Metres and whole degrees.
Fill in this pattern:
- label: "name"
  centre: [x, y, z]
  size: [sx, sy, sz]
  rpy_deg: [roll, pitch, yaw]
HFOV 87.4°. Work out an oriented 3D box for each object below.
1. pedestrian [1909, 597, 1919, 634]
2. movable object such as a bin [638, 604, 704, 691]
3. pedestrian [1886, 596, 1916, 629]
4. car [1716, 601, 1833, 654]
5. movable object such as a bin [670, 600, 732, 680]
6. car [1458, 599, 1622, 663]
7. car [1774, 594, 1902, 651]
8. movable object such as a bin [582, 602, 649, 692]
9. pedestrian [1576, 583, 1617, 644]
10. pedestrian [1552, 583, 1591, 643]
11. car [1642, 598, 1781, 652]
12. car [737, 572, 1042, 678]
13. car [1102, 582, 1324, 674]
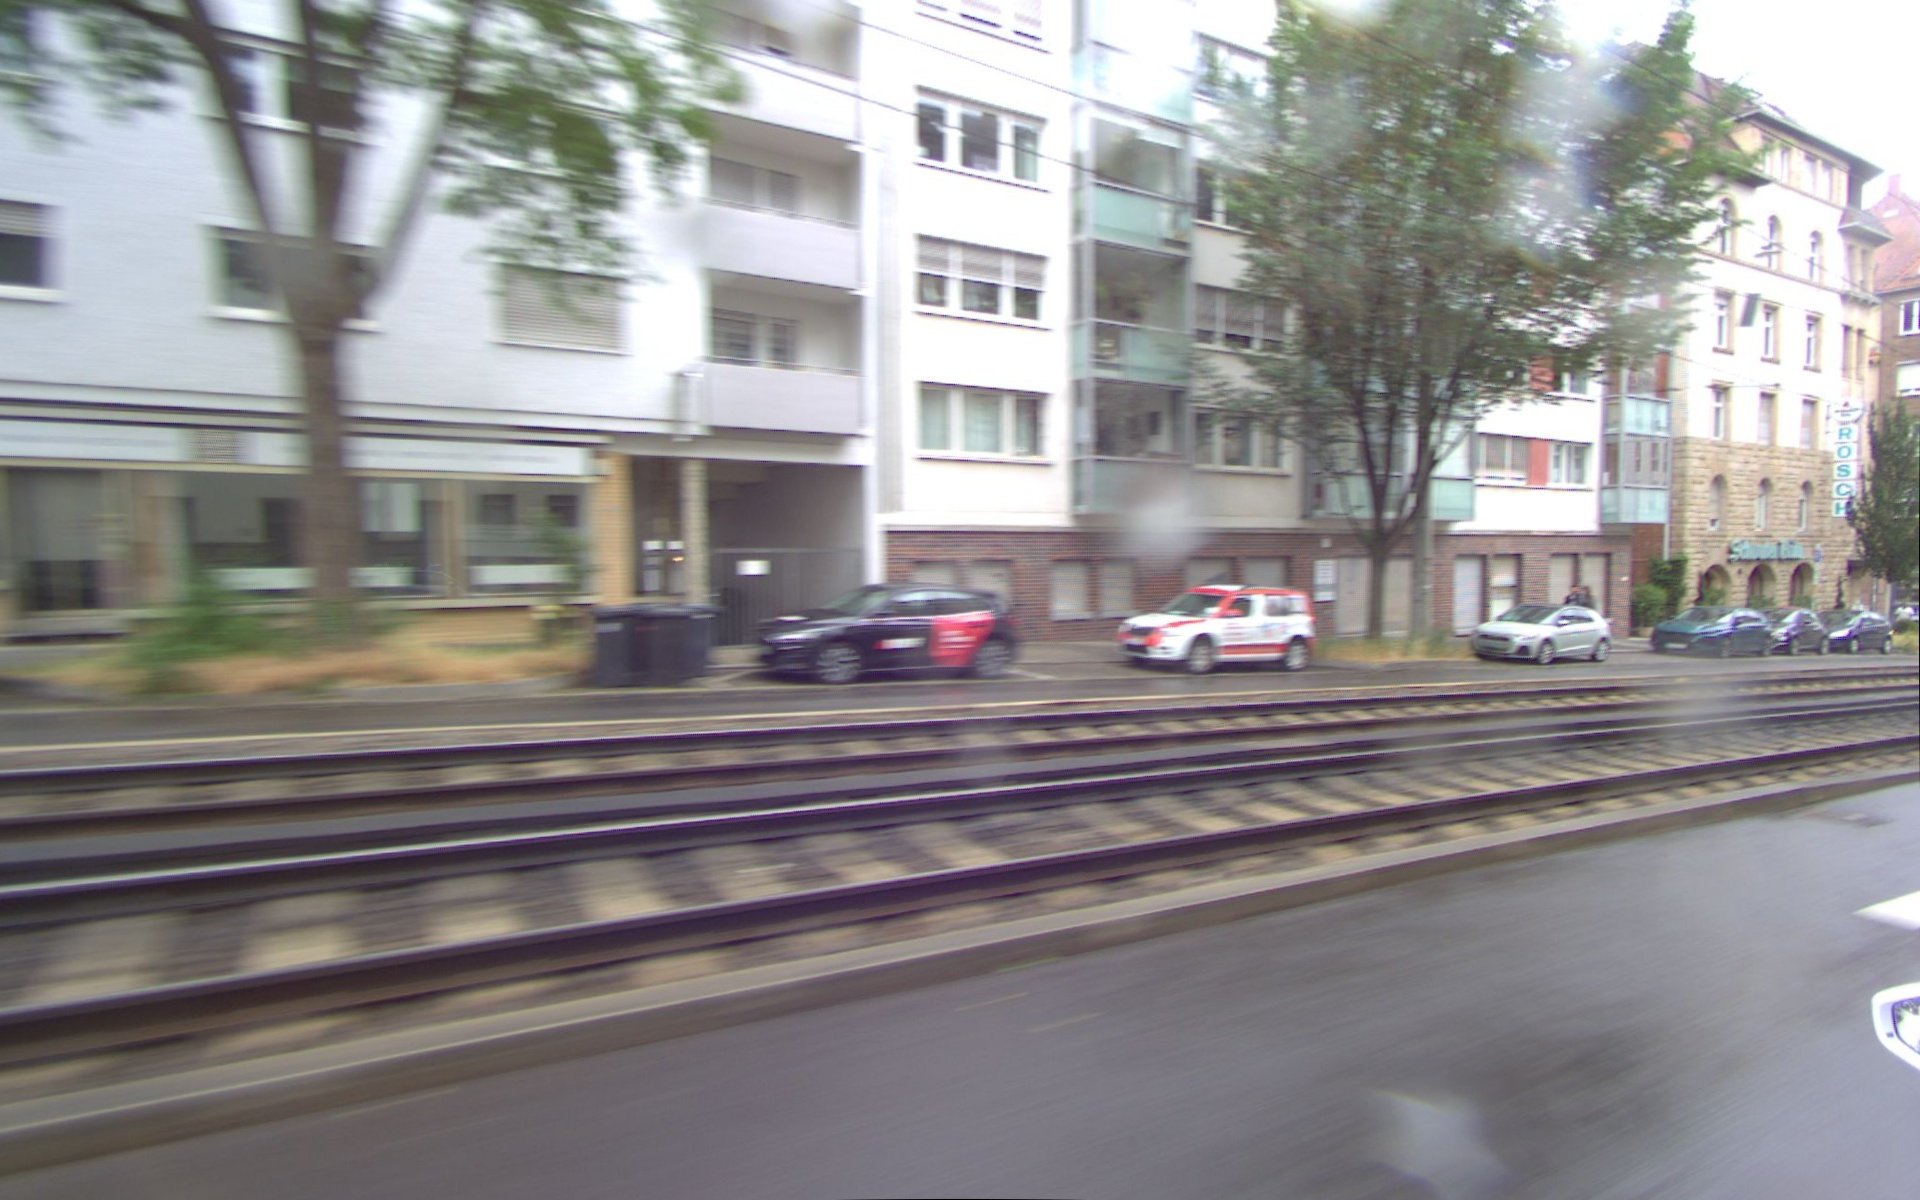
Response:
- label: "pedestrian"
  centre: [41.305, 0.661, 43.171]
  size: [0.635, 1.591, 0.515]
  rpy_deg: [1, 1, -27]
- label: "movable object such as a bin"
  centre: [-3.948, 0.632, 13.703]
  size: [0.665, 1.136, 0.720]
  rpy_deg: [1, 1, -36]
- label: "pedestrian"
  centre: [40.963, 0.540, 43.742]
  size: [0.637, 1.441, 0.751]
  rpy_deg: [1, 1, -27]
- label: "car"
  centre: [26.018, 0.850, 32.080]
  size: [3.486, 1.518, 1.797]
  rpy_deg: [1, 2, -31]
- label: "movable object such as a bin"
  centre: [-3.811, 0.571, 14.781]
  size: [0.665, 1.136, 0.720]
  rpy_deg: [1, 1, -36]
- label: "car"
  centre: [14.537, 0.761, 25.126]
  size: [4.082, 1.354, 1.693]
  rpy_deg: [1, 4, -30]
- label: "car"
  centre: [30.337, 0.766, 34.712]
  size: [3.689, 1.751, 1.880]
  rpy_deg: [1, 4, -25]
- label: "movable object such as a bin"
  centre: [-4.614, 0.611, 13.455]
  size: [0.665, 1.136, 0.720]
  rpy_deg: [1, 1, -36]
- label: "pedestrian"
  centre: [18.987, 0.404, 29.958]
  size: [0.773, 1.796, 0.670]
  rpy_deg: [1, 2, -30]
- label: "pedestrian"
  centre: [18.643, 0.387, 30.628]
  size: [0.773, 1.796, 0.670]
  rpy_deg: [1, 2, -30]
- label: "car"
  centre: [22.219, 0.717, 29.663]
  size: [4.381, 1.474, 1.791]
  rpy_deg: [1, 1, -32]
- label: "car"
  centre: [-1.061, 0.361, 15.816]
  size: [4.419, 1.459, 1.896]
  rpy_deg: [1, 1, -32]
- label: "car"
  centre: [4.915, 0.512, 19.391]
  size: [4.112, 1.590, 1.767]
  rpy_deg: [1, 1, -32]
